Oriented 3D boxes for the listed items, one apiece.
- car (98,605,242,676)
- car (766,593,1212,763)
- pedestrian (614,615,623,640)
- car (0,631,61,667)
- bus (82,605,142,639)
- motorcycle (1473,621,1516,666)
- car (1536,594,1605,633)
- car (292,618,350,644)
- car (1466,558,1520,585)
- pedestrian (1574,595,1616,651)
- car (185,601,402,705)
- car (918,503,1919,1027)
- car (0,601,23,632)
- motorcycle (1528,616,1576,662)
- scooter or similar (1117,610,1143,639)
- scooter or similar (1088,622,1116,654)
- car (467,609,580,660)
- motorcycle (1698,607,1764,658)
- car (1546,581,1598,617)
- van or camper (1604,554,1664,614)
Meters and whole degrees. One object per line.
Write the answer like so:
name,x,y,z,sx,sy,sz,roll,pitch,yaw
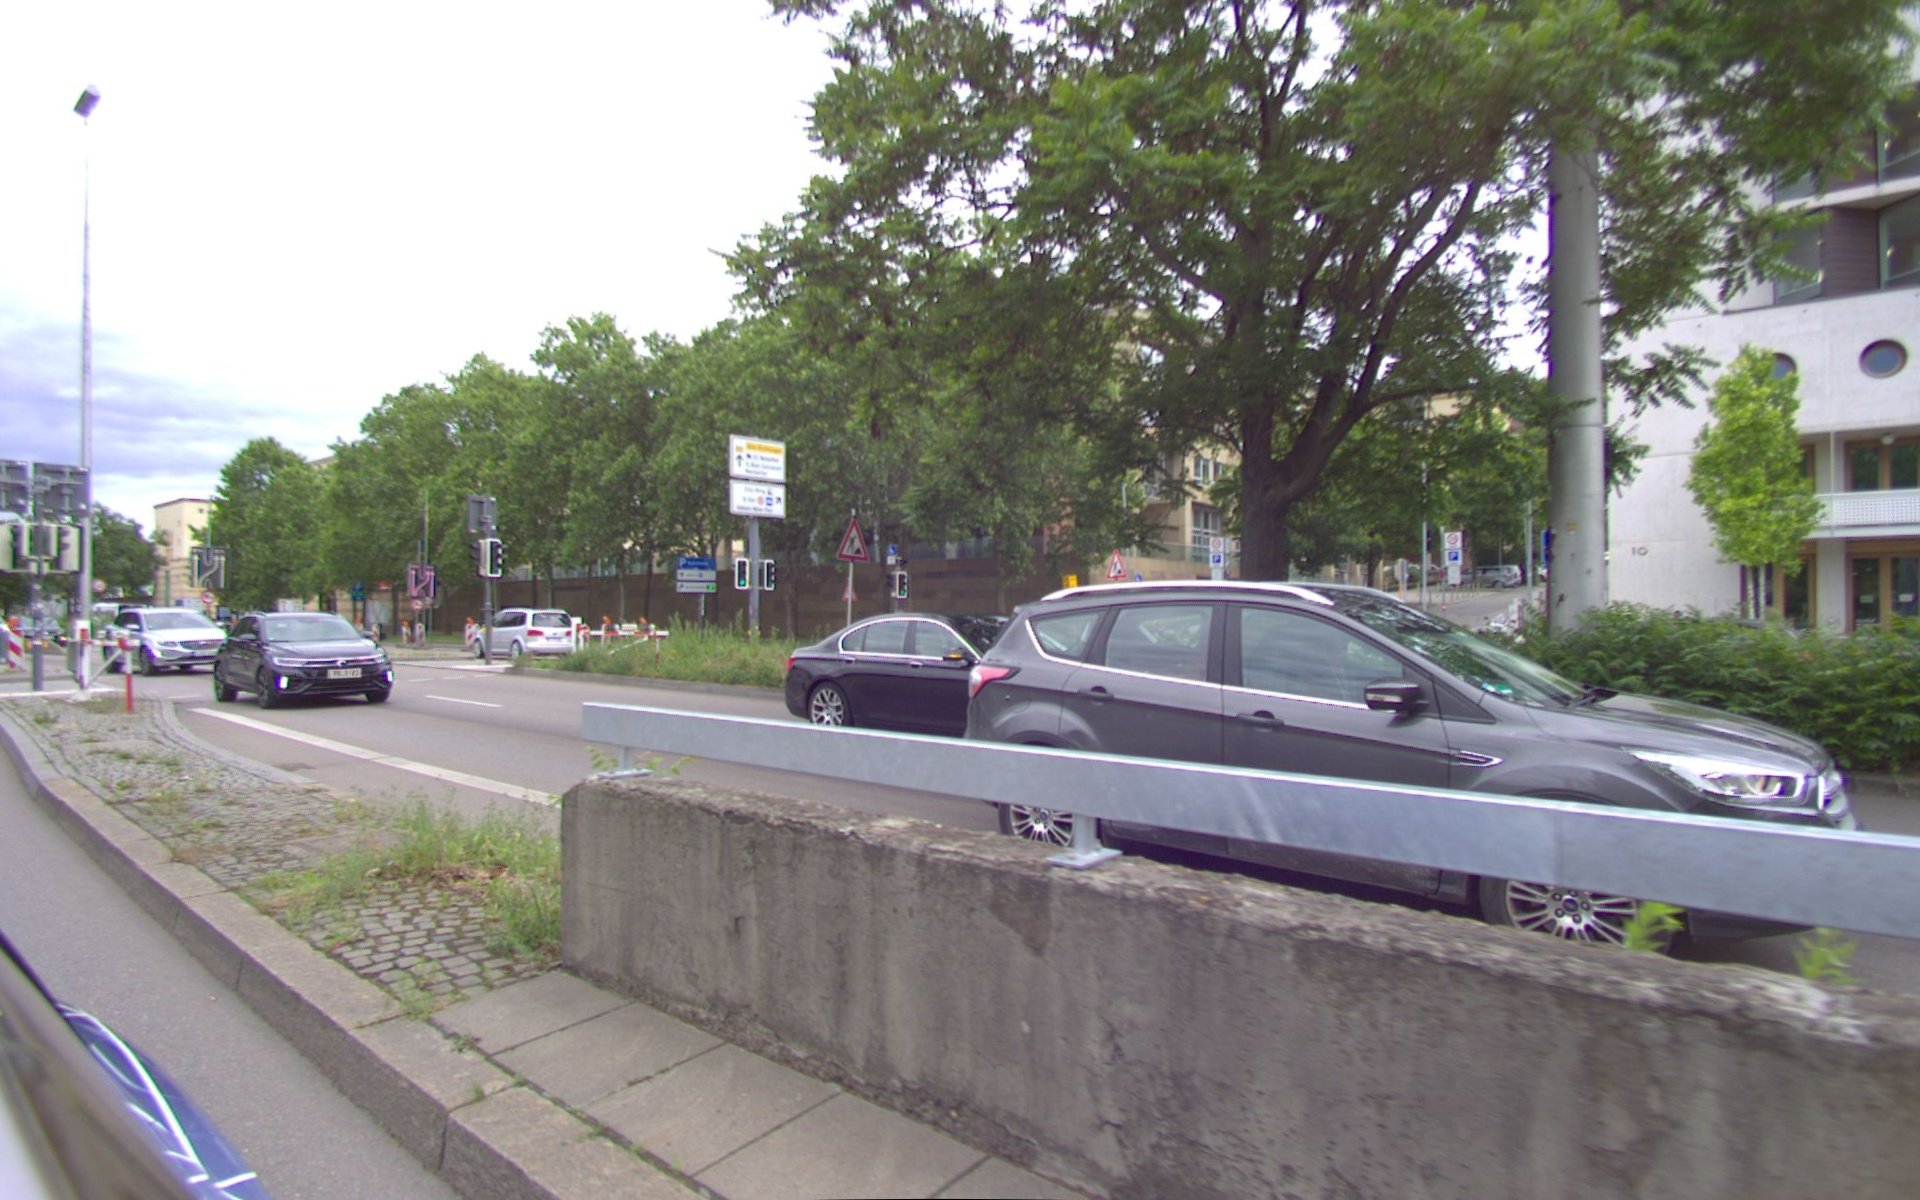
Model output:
car,-20.206,0.947,25.816,4.735,1.629,1.973,0,0,40
car,0.139,0.726,11.256,4.806,1.494,1.973,-1,-1,41
pedestrian,-22.421,1.780,66.483,0.443,1.619,0.351,0,1,34
car,-42.350,2.158,45.645,4.804,1.494,1.974,-1,-1,39
bus,-87.799,2.253,104.749,10.439,3.330,2.883,-1,-1,40
motorcycle,15.447,1.240,29.278,0.653,1.243,1.880,2,-1,15
car,24.033,0.485,39.779,1.750,1.285,3.947,0,3,40
car,-36.241,1.744,57.364,3.998,1.382,1.707,-1,-2,41
car,43.874,-2.303,83.336,3.683,2.029,1.567,-1,-1,42
pedestrian,18.083,0.662,28.827,0.589,1.569,0.883,0,-1,-2
car,-11.291,0.802,17.065,4.145,1.527,1.747,0,1,37
car,2.120,0.575,5.478,4.655,1.728,1.874,-1,0,41
car,-53.694,0.934,56.185,3.996,1.658,1.974,-1,0,40
motorcycle,16.646,1.076,28.495,0.653,1.243,1.880,2,-1,15
scooter or similar,7.932,1.127,47.189,0.537,1.351,1.400,-1,-1,40
scooter or similar,6.219,1.640,44.284,0.537,1.351,1.400,-1,-1,40
car,-13.811,1.068,31.922,4.042,1.501,1.719,-1,-2,41
motorcycle,19.763,0.826,25.997,0.653,1.243,1.880,2,-1,15
car,35.793,-0.081,59.115,1.999,1.863,3.947,0,3,40
van or camper,39.864,-0.978,59.743,2.394,3.372,6.250,0,2,39
